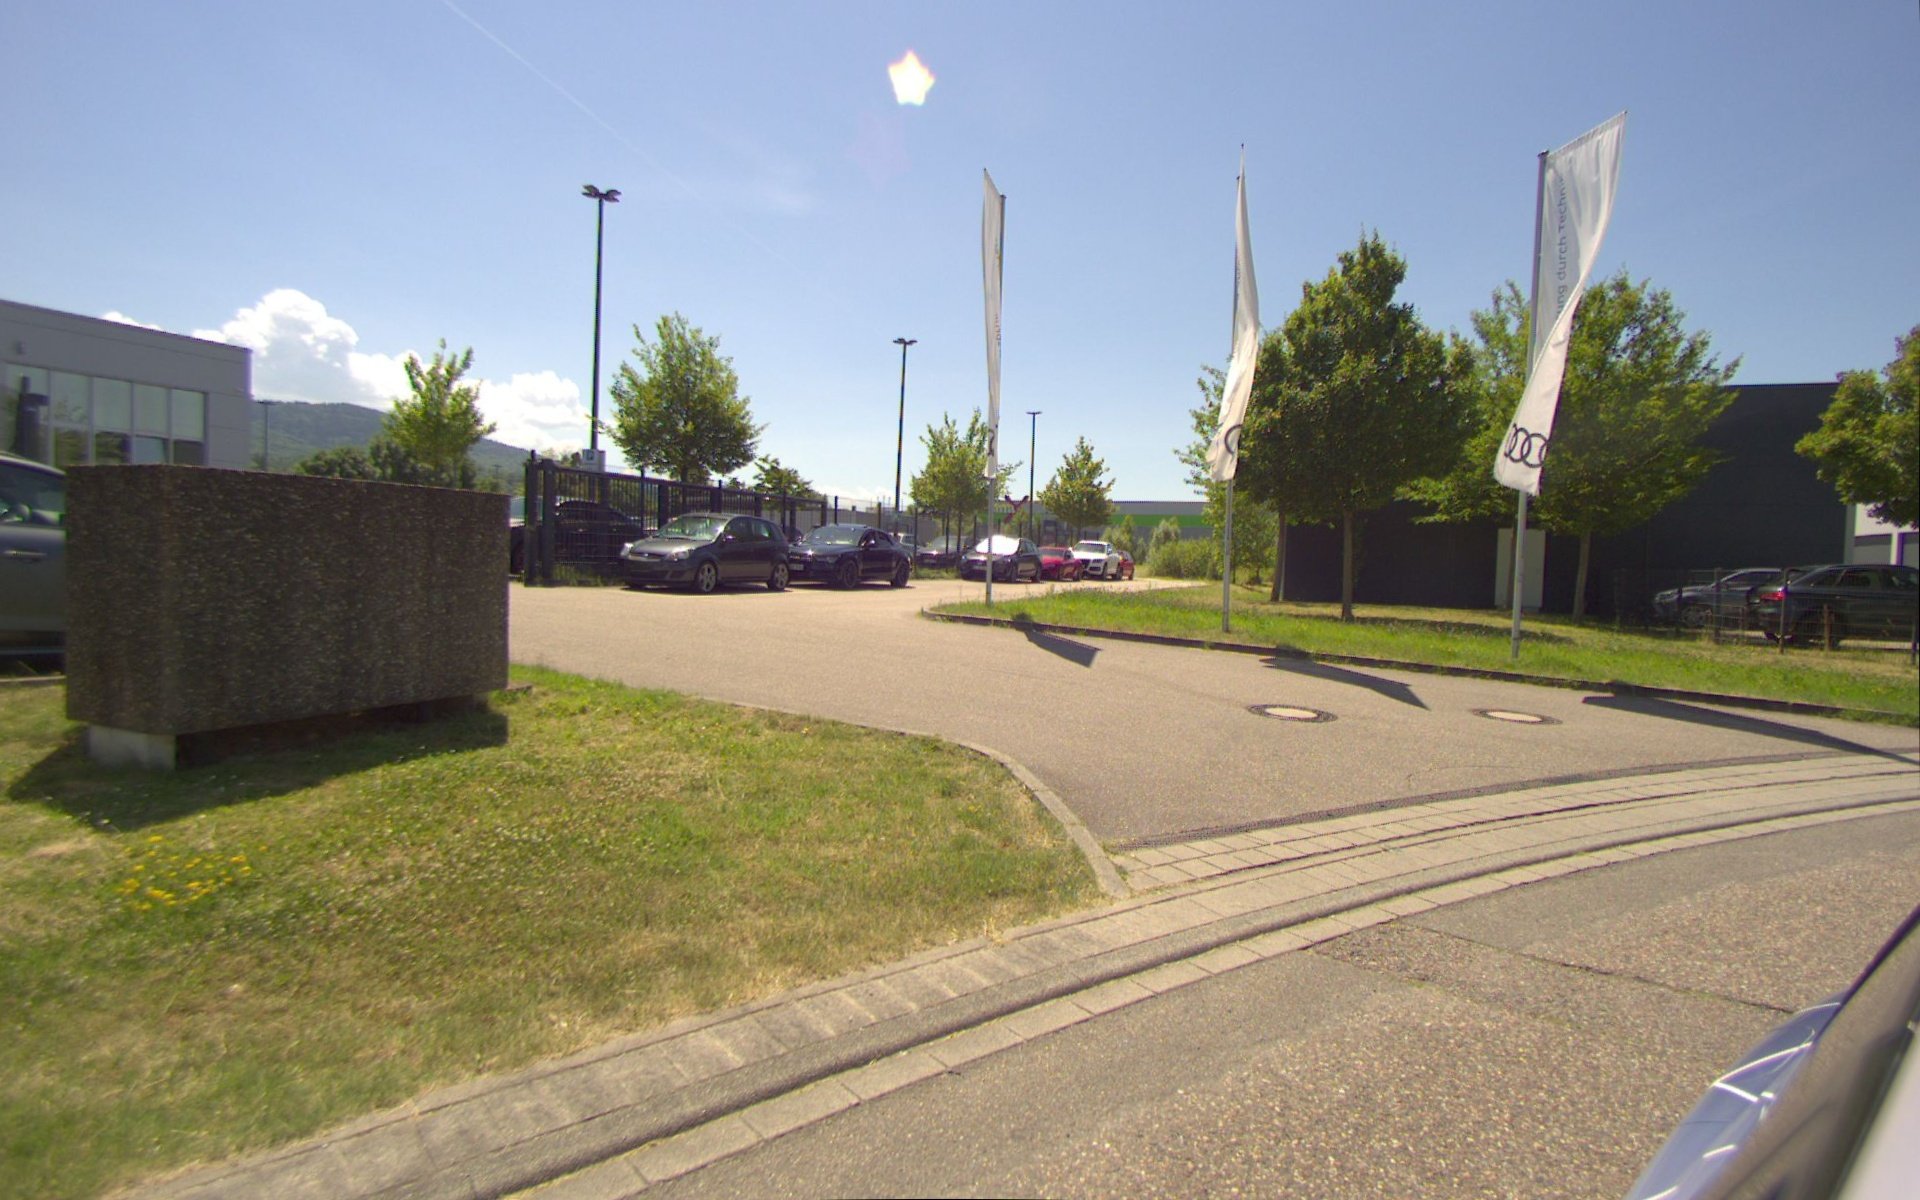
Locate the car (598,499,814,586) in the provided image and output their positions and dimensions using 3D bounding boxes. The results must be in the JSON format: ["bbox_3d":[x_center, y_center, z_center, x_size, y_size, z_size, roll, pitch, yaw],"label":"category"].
[{"bbox_3d":[-4.612,-1.064,18.991,1.762,1.365,4.113,5,4,24],"label":"car"}]

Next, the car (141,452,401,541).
[{"bbox_3d":[-15.431,-2.274,23.005,1.945,1.649,4.595,5,4,21],"label":"car"}]

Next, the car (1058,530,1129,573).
[{"bbox_3d":[5.832,-2.102,43.866,1.806,1.666,4.362,5,4,24],"label":"car"}]

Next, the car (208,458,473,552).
[{"bbox_3d":[-12.976,-1.943,21.575,1.945,1.649,4.595,5,4,21],"label":"car"}]

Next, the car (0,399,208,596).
[{"bbox_3d":[-8.723,-0.849,7.464,1.804,1.546,4.912,5,4,21],"label":"car"}]

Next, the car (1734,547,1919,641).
[{"bbox_3d":[17.153,-0.133,18.602,4.233,1.621,1.768,2,3,22],"label":"car"}]

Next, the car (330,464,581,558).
[{"bbox_3d":[-10.385,-1.778,21.255,1.945,1.649,4.595,5,4,21],"label":"car"}]

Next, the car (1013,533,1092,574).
[{"bbox_3d":[3.628,-1.792,39.050,1.762,1.373,4.139,5,4,24],"label":"car"}]

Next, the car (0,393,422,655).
[{"bbox_3d":[-6.225,-0.518,6.393,1.945,1.485,4.912,5,4,21],"label":"car"}]

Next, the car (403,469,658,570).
[{"bbox_3d":[-8.188,-1.498,19.812,1.945,1.649,4.595,5,4,21],"label":"car"}]

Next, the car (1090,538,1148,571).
[{"bbox_3d":[7.932,-2.264,50.239,1.806,1.458,4.080,5,4,24],"label":"car"}]

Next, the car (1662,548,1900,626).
[{"bbox_3d":[20.248,-0.385,25.187,4.125,1.585,1.768,5,4,22],"label":"car"}]

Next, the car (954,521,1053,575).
[{"bbox_3d":[1.523,-1.708,33.589,1.762,1.585,4.371,5,4,24],"label":"car"}]

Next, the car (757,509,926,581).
[{"bbox_3d":[-2.588,-1.244,23.275,1.762,1.418,4.537,5,4,24],"label":"car"}]
